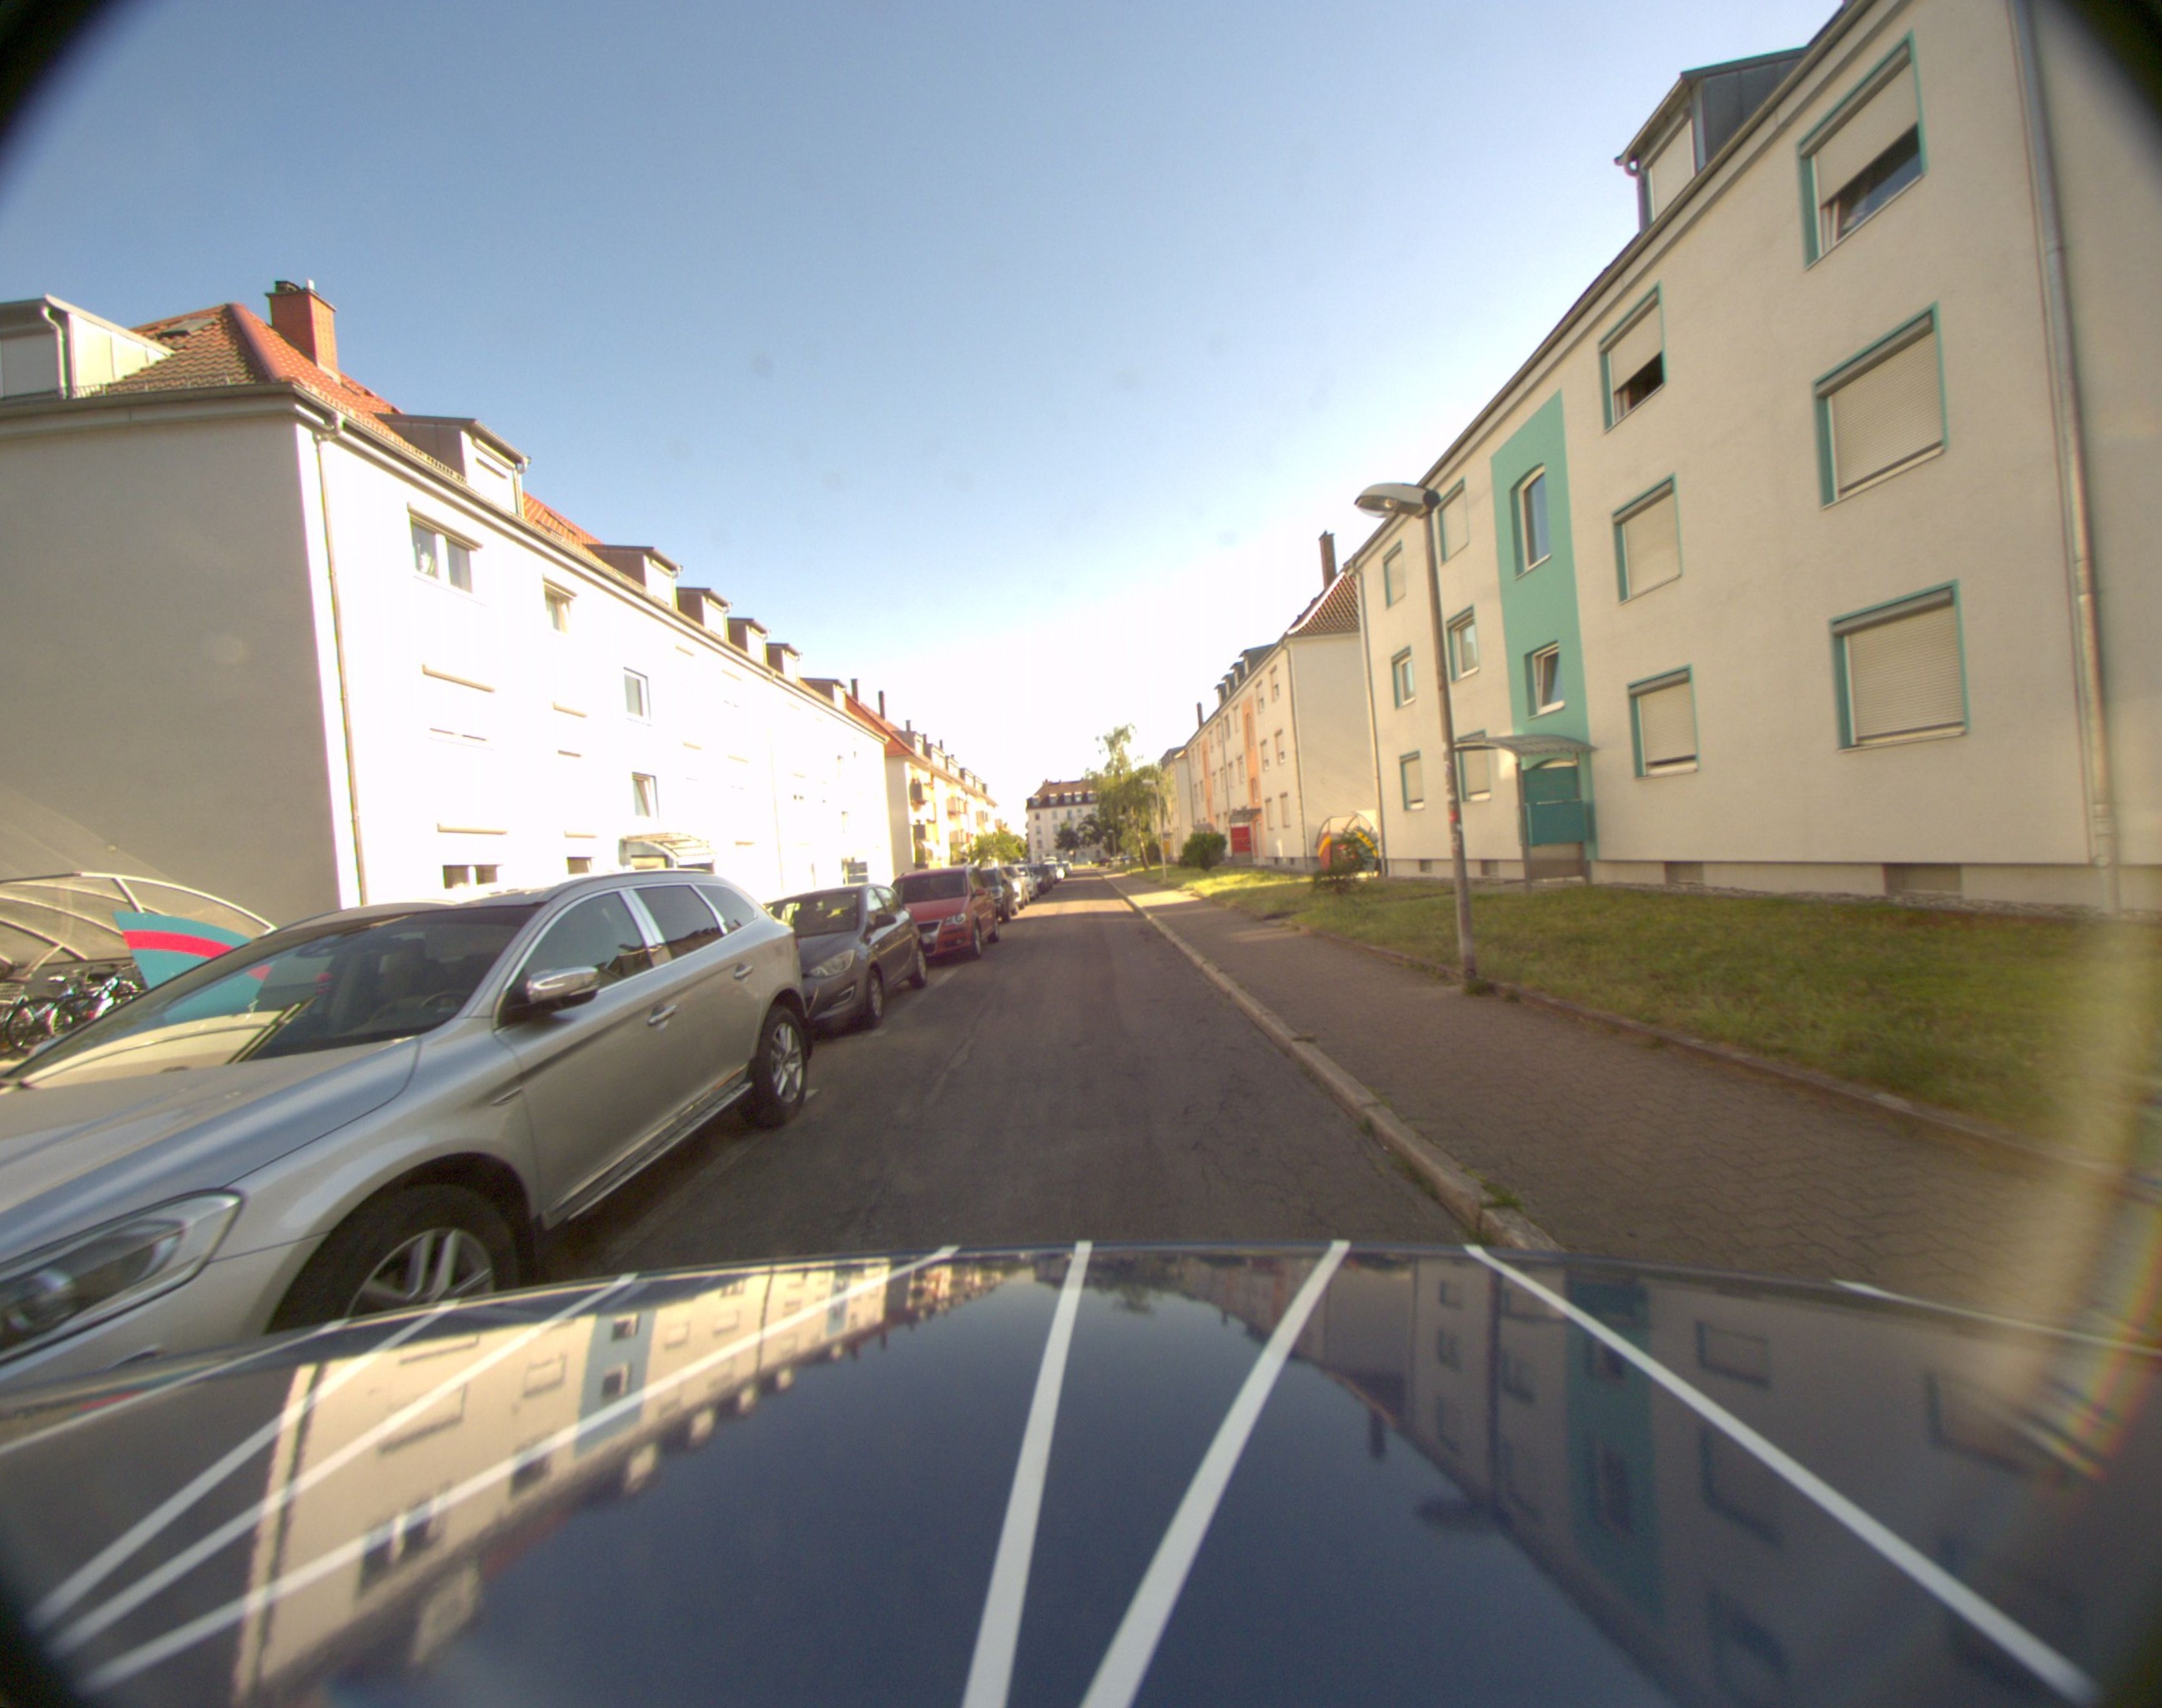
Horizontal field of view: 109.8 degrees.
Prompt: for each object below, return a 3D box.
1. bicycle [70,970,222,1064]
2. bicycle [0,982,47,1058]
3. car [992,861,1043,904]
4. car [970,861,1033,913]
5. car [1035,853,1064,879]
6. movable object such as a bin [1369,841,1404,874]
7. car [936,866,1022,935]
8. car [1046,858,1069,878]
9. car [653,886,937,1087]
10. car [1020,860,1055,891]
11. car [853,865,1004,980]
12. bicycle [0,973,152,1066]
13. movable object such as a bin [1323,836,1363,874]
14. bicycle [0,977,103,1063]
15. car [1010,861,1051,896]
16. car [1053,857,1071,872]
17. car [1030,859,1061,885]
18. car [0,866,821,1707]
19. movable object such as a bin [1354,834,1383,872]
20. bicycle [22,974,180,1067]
[{"bbox_3d":[-12.193,2.096,9.960,0.319,0.940,1.283,-3,0,3],"label":"bicycle"},{"bbox_3d":[-14.744,2.284,9.924,0.319,0.940,1.509,-3,0,3],"label":"bicycle"},{"bbox_3d":[-2.683,1.181,33.000,1.709,1.562,4.041,-4,0,0],"label":"car"},{"bbox_3d":[-2.769,1.115,27.183,1.709,1.562,3.876,-4,0,0],"label":"car"},{"bbox_3d":[-2.577,0.932,63.336,1.953,1.889,4.763,-4,1,1],"label":"car"},{"bbox_3d":[9.826,0.104,24.467,0.753,1.006,0.763,-4,0,0],"label":"movable object such as a bin"},{"bbox_3d":[-2.813,1.248,21.725,1.709,1.516,3.876,-8,0,0],"label":"car"},{"bbox_3d":[-2.125,1.291,70.035,1.708,1.562,4.734,-4,1,1],"label":"car"},{"bbox_3d":[-2.893,1.252,8.649,1.621,1.440,3.857,-7,0,0],"label":"car"},{"bbox_3d":[-2.489,1.207,44.270,1.709,1.562,4.041,-4,0,0],"label":"car"},{"bbox_3d":[-2.591,1.103,14.003,1.731,1.597,4.423,-4,0,0],"label":"car"},{"bbox_3d":[-13.381,2.172,10.128,0.319,0.940,1.283,-3,0,3],"label":"bicycle"},{"bbox_3d":[10.125,0.034,29.400,1.167,1.385,0.877,-4,0,0],"label":"movable object such as a bin"},{"bbox_3d":[-13.928,2.200,10.019,0.319,0.940,1.283,-3,0,3],"label":"bicycle"},{"bbox_3d":[-2.529,1.203,38.862,1.709,1.562,4.041,-4,0,0],"label":"car"},{"bbox_3d":[-2.161,1.204,87.558,1.708,1.562,3.925,-4,1,1],"label":"car"},{"bbox_3d":[-2.531,1.282,54.997,1.708,1.562,4.381,-4,1,3],"label":"car"},{"bbox_3d":[-2.739,1.032,3.122,1.780,1.709,4.306,-7,0,-2],"label":"car"},{"bbox_3d":[11.107,-0.034,29.391,0.753,1.385,0.763,-4,0,0],"label":"movable object such as a bin"},{"bbox_3d":[-12.883,2.160,10.039,0.319,0.940,1.283,-3,0,3],"label":"bicycle"}]
